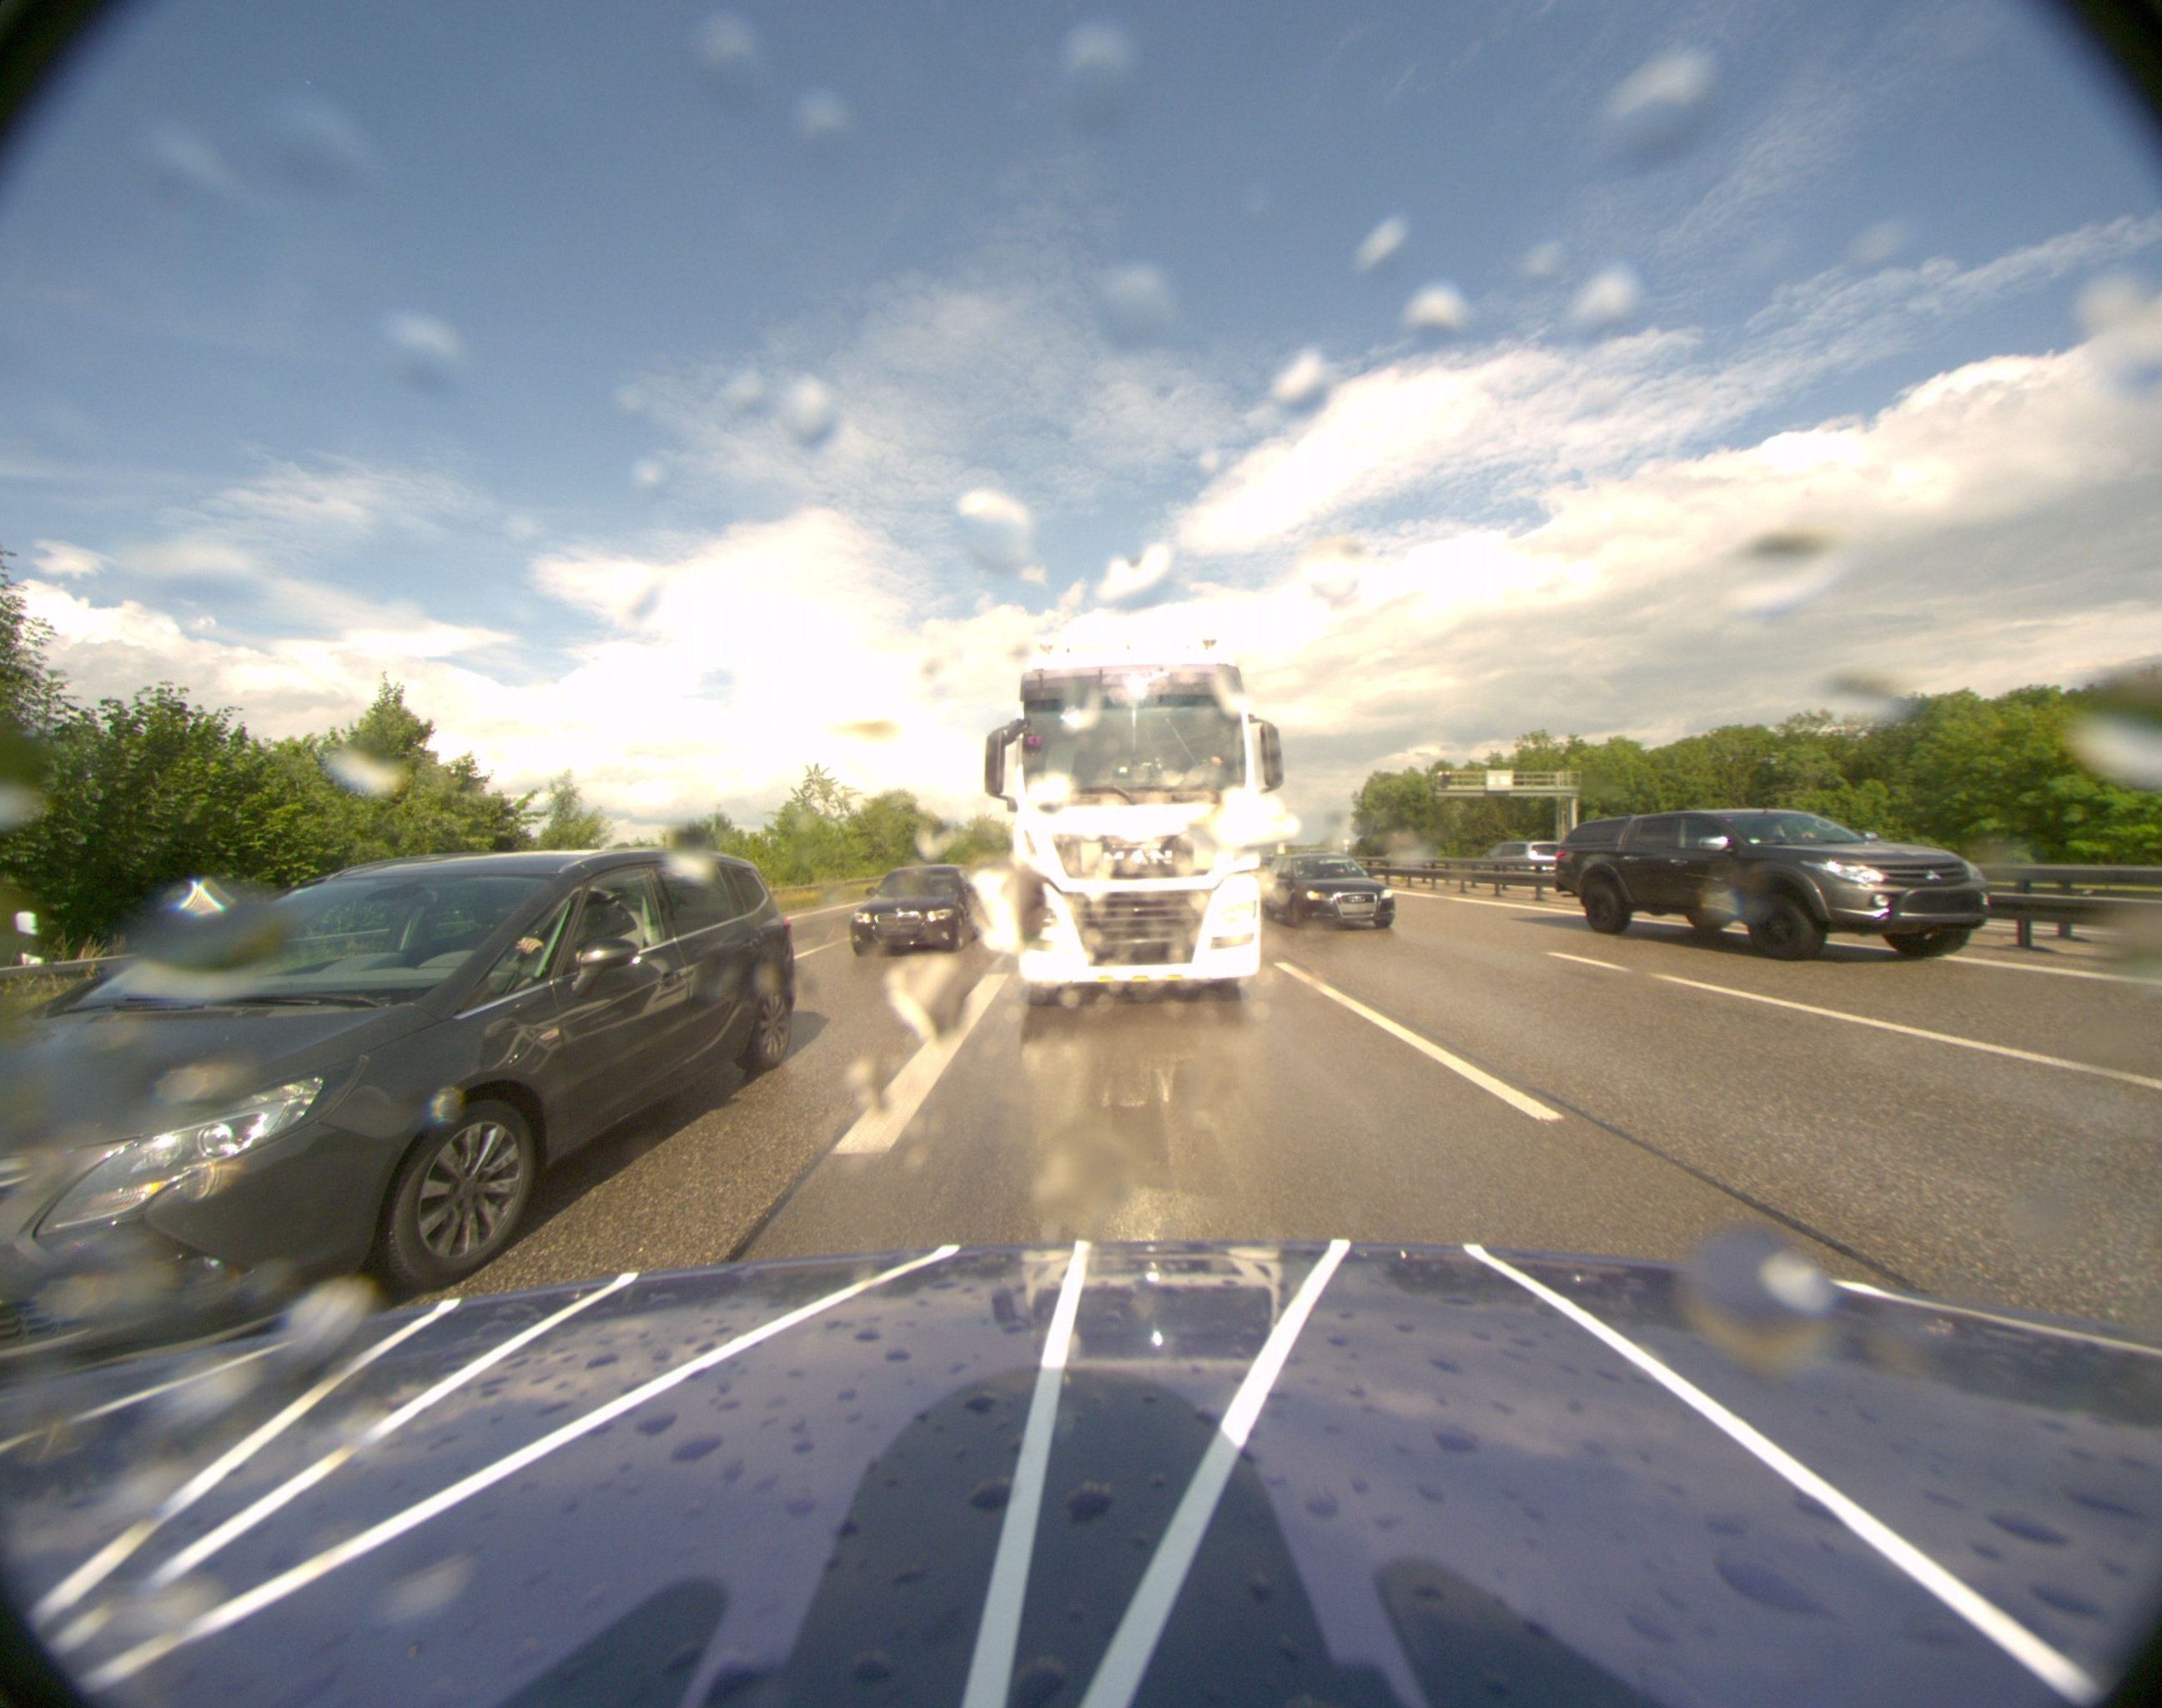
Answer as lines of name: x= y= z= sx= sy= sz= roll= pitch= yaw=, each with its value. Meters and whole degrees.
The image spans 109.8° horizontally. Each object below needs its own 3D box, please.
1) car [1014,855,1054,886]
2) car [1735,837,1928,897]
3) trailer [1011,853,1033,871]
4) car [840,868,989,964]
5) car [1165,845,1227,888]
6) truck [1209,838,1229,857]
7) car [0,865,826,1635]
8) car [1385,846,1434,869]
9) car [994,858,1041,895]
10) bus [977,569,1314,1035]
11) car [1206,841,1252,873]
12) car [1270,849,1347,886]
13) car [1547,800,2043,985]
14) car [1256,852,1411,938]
car: x=-2.393 y=0.815 z=39.674 sx=1.858 sy=1.434 sz=3.999 roll=-2 pitch=1 yaw=-1
car: x=20.160 y=0.306 z=20.647 sx=1.754 sy=1.425 sz=3.634 roll=-2 pitch=0 yaw=3
trailer: x=-6.128 y=0.845 z=79.299 sx=1.810 sy=1.736 sz=3.968 roll=-3 pitch=1 yaw=2
car: x=-2.789 y=0.995 z=13.616 sx=1.722 sy=1.346 sz=3.884 roll=-2 pitch=0 yaw=1
car: x=4.883 y=0.469 z=32.839 sx=1.881 sy=1.669 sz=4.625 roll=-2 pitch=0 yaw=-1
truck: x=29.251 y=-1.378 z=161.346 sx=2.799 sy=3.861 sz=8.919 roll=-2 pitch=0 yaw=3
car: x=-3.159 y=0.948 z=4.066 sx=1.858 sy=1.622 sz=4.735 roll=-2 pitch=0 yaw=1
car: x=21.164 y=0.212 z=49.132 sx=1.693 sy=1.346 sz=3.441 roll=-2 pitch=0 yaw=0
car: x=-2.541 y=0.872 z=31.084 sx=1.744 sy=1.357 sz=3.998 roll=-2 pitch=0 yaw=-3
bus: x=0.651 y=-0.483 z=11.811 sx=2.904 sy=4.104 sz=9.844 roll=-2 pitch=0 yaw=1
car: x=9.702 y=0.176 z=50.184 sx=1.998 sy=1.906 sz=5.235 roll=-2 pitch=0 yaw=0
car: x=9.485 y=0.512 z=32.043 sx=1.925 sy=1.416 sz=4.372 roll=-2 pitch=1 yaw=0
car: x=8.970 y=0.381 z=10.486 sx=1.811 sy=1.833 sz=5.418 roll=-2 pitch=0 yaw=1
car: x=4.811 y=0.705 z=15.106 sx=1.754 sy=1.425 sz=4.054 roll=-2 pitch=0 yaw=1
